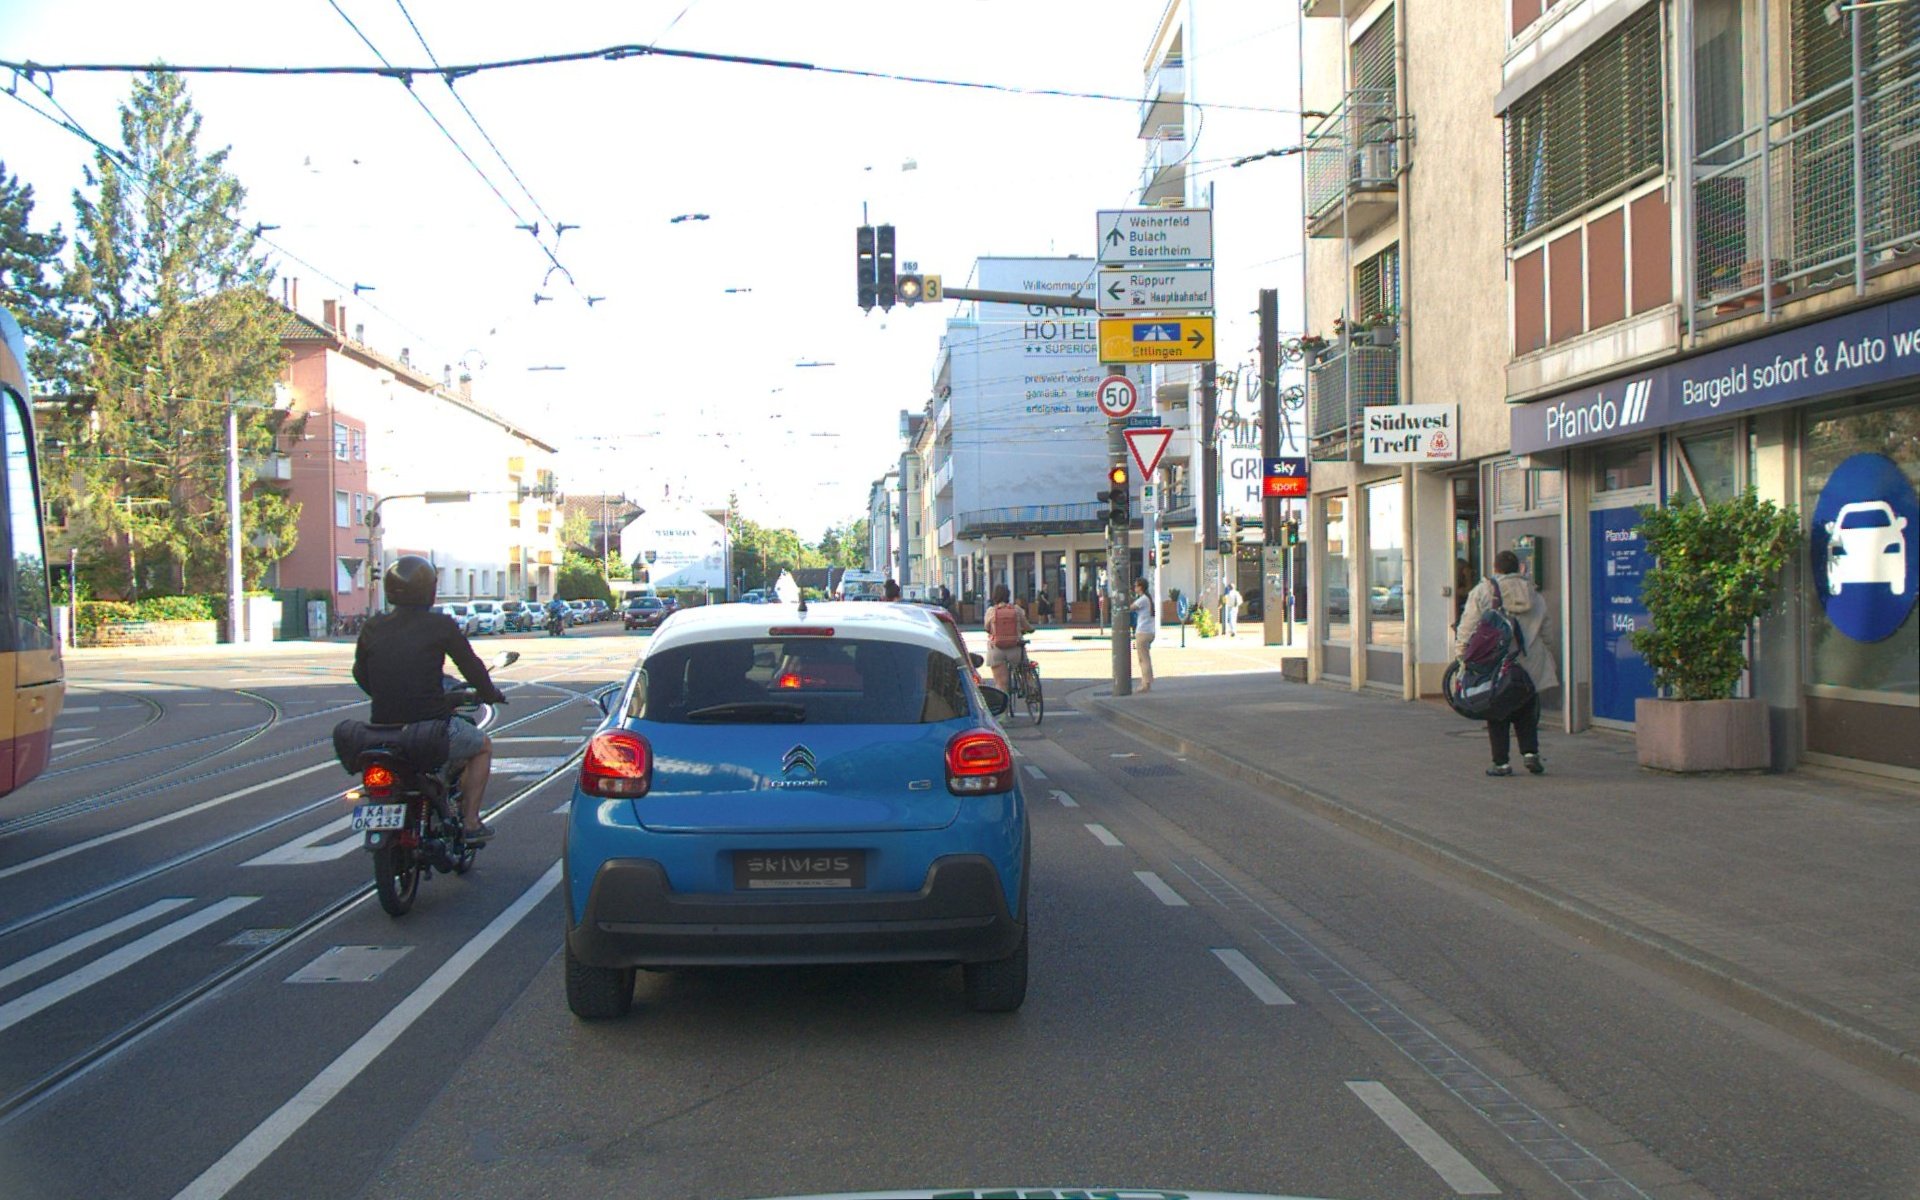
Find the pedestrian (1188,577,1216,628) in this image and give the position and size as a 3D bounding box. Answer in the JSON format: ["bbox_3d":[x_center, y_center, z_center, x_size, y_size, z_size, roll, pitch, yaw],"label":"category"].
[{"bbox_3d":[7.729,0.081,52.905,0.721,1.629,0.748,1,-1,-5],"label":"pedestrian"}]

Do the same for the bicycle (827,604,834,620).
[{"bbox_3d":[-7.659,0.688,97.698,0.342,0.919,1.858,1,0,-2],"label":"bicycle"}]

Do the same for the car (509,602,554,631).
[{"bbox_3d":[-23.744,0.914,91.765,1.699,1.524,3.996,1,0,-5],"label":"car"}]

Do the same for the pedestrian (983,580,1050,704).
[{"bbox_3d":[0.684,0.509,20.254,0.761,1.486,0.681,1,-1,-1],"label":"pedestrian"}]

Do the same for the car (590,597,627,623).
[{"bbox_3d":[-23.567,0.677,111.028,1.845,1.716,3.997,1,0,-4],"label":"car"}]

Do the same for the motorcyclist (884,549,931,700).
[{"bbox_3d":[-0.612,0.286,19.588,0.516,1.746,0.717,1,-1,-1],"label":"motorcyclist"}]

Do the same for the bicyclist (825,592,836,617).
[{"bbox_3d":[-7.650,0.267,97.634,0.549,1.503,0.747,1,-1,-2],"label":"bicyclist"}]

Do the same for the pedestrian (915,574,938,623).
[{"bbox_3d":[-1.396,-0.072,69.196,0.625,2.049,0.715,1,-1,-37],"label":"pedestrian"}]

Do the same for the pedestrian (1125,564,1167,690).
[{"bbox_3d":[2.717,0.390,24.226,0.507,1.814,0.595,1,-1,-3],"label":"pedestrian"}]

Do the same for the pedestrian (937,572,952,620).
[{"bbox_3d":[-0.652,-0.164,70.204,0.565,2.049,0.625,1,-1,-3],"label":"pedestrian"}]

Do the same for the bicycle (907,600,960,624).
[{"bbox_3d":[-1.059,0.478,65.872,2.093,0.917,0.366,1,-1,-10],"label":"bicycle"}]

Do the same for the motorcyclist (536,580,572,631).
[{"bbox_3d":[-16.374,0.218,66.766,1.162,2.049,1.274,-1,0,-4],"label":"motorcyclist"}]

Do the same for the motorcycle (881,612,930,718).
[{"bbox_3d":[-0.620,0.728,19.398,0.515,1.159,2.289,1,0,-1],"label":"motorcycle"}]

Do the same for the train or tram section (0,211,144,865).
[{"bbox_3d":[-6.369,-0.378,4.005,2.691,3.695,14.251,1,0,-4],"label":"train or tram section"}]

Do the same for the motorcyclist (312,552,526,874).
[{"bbox_3d":[-2.676,0.543,8.240,0.843,1.531,0.598,1,-1,-1],"label":"motorcyclist"}]

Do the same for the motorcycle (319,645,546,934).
[{"bbox_3d":[-2.622,0.880,8.429,0.526,1.240,1.980,1,0,-1],"label":"motorcycle"}]

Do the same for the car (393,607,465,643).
[{"bbox_3d":[-21.910,1.008,68.438,1.757,1.446,3.994,1,0,-2],"label":"car"}]

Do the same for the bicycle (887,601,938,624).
[{"bbox_3d":[-1.966,0.498,68.276,2.093,0.917,0.366,1,-1,-10],"label":"bicycle"}]

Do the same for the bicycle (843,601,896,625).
[{"bbox_3d":[-3.610,0.523,66.187,2.093,0.917,0.366,1,-1,-10],"label":"bicycle"}]

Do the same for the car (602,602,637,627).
[{"bbox_3d":[-23.901,1.006,116.237,1.797,1.716,3.997,1,0,-4],"label":"car"}]

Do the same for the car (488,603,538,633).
[{"bbox_3d":[-23.133,0.921,85.694,1.750,1.524,3.997,1,0,-4],"label":"car"}]

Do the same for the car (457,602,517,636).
[{"bbox_3d":[-22.578,0.881,79.096,1.751,1.537,4.148,1,0,-2],"label":"car"}]

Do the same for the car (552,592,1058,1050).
[{"bbox_3d":[-0.527,0.729,7.150,1.620,1.469,3.522,1,0,-1],"label":"car"}]

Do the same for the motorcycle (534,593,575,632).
[{"bbox_3d":[-16.358,0.482,66.825,0.905,1.512,3.723,1,0,-4],"label":"motorcycle"}]

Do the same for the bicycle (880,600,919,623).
[{"bbox_3d":[-2.525,0.480,69.222,1.751,0.917,0.365,1,-1,34],"label":"bicycle"}]

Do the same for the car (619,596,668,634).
[{"bbox_3d":[-14.533,0.685,76.161,1.740,1.695,3.853,1,0,-4],"label":"car"}]

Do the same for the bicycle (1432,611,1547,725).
[{"bbox_3d":[5.044,0.623,15.845,0.531,1.016,1.705,1,0,-1],"label":"bicycle"}]

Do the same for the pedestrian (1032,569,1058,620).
[{"bbox_3d":[3.397,-0.222,66.353,0.746,2.049,0.707,0,-1,44],"label":"pedestrian"}]

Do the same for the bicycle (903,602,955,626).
[{"bbox_3d":[-1.264,0.567,67.112,2.093,0.917,0.366,1,-1,-10],"label":"bicycle"}]

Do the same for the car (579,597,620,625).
[{"bbox_3d":[-23.107,0.699,106.052,1.944,1.716,3.997,1,0,-4],"label":"car"}]

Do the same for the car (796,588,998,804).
[{"bbox_3d":[-0.467,0.684,13.137,1.395,1.493,2.923,-1,0,-1],"label":"car"}]

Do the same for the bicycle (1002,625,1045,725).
[{"bbox_3d":[0.777,0.901,20.514,0.419,1.142,1.998,1,0,-1],"label":"bicycle"}]

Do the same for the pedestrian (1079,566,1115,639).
[{"bbox_3d":[3.896,0.065,46.999,0.907,2.049,0.759,1,-1,-1],"label":"pedestrian"}]

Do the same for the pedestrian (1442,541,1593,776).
[{"bbox_3d":[3.982,0.407,11.861,0.808,1.620,0.751,1,-1,-1],"label":"pedestrian"}]

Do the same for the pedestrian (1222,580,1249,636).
[{"bbox_3d":[8.448,0.235,50.748,0.736,1.686,0.884,1,-1,6],"label":"pedestrian"}]

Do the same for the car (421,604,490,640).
[{"bbox_3d":[-22.358,0.950,73.393,1.778,1.524,4.299,1,0,-1],"label":"car"}]

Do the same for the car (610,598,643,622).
[{"bbox_3d":[-24.362,0.704,120.908,1.809,1.716,3.871,1,0,-4],"label":"car"}]

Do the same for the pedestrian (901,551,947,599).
[{"bbox_3d":[-1.604,-1.087,73.506,1.953,2.049,3.999,1,0,-1],"label":"pedestrian"}]

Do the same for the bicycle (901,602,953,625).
[{"bbox_3d":[-1.343,0.556,67.527,2.093,0.917,0.366,1,-1,-10],"label":"bicycle"}]
